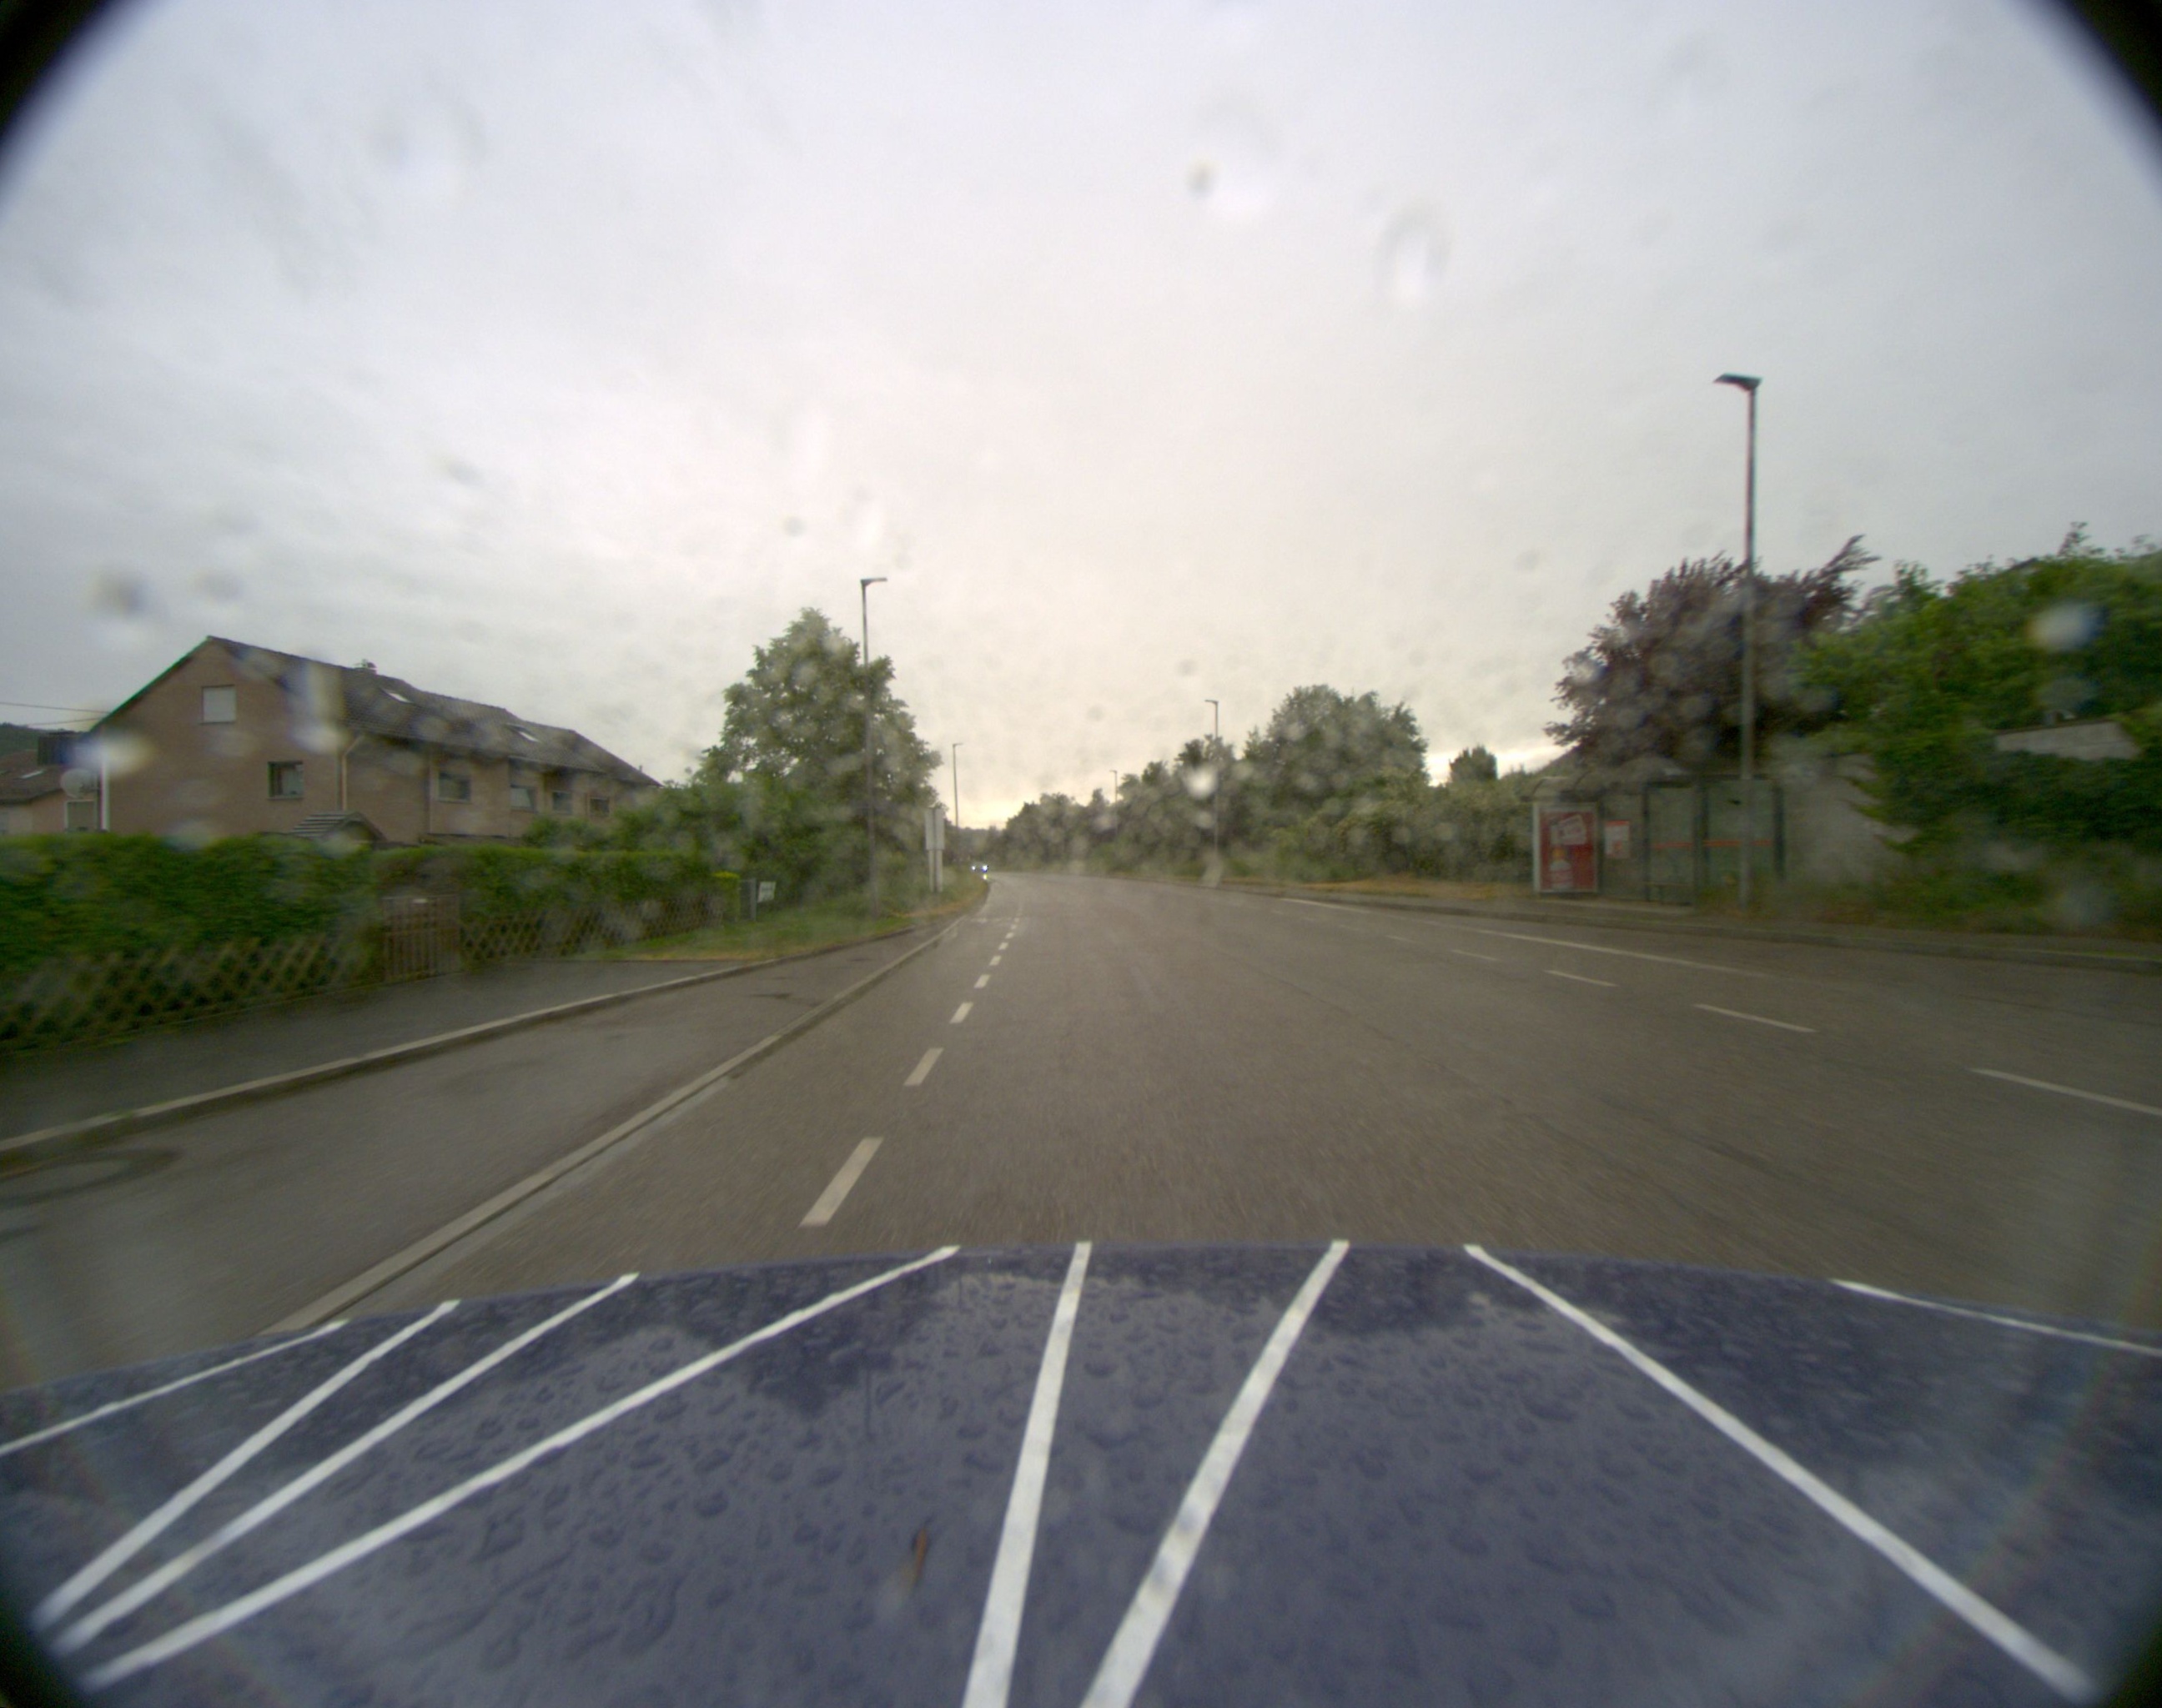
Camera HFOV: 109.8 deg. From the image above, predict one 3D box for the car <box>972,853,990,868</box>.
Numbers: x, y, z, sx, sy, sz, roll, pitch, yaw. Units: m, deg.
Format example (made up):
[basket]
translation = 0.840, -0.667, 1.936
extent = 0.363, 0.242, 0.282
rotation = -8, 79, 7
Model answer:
[car]
translation = -12.665, 0.780, 95.703
extent = 2.000, 1.831, 3.996
rotation = -1, 0, -11
